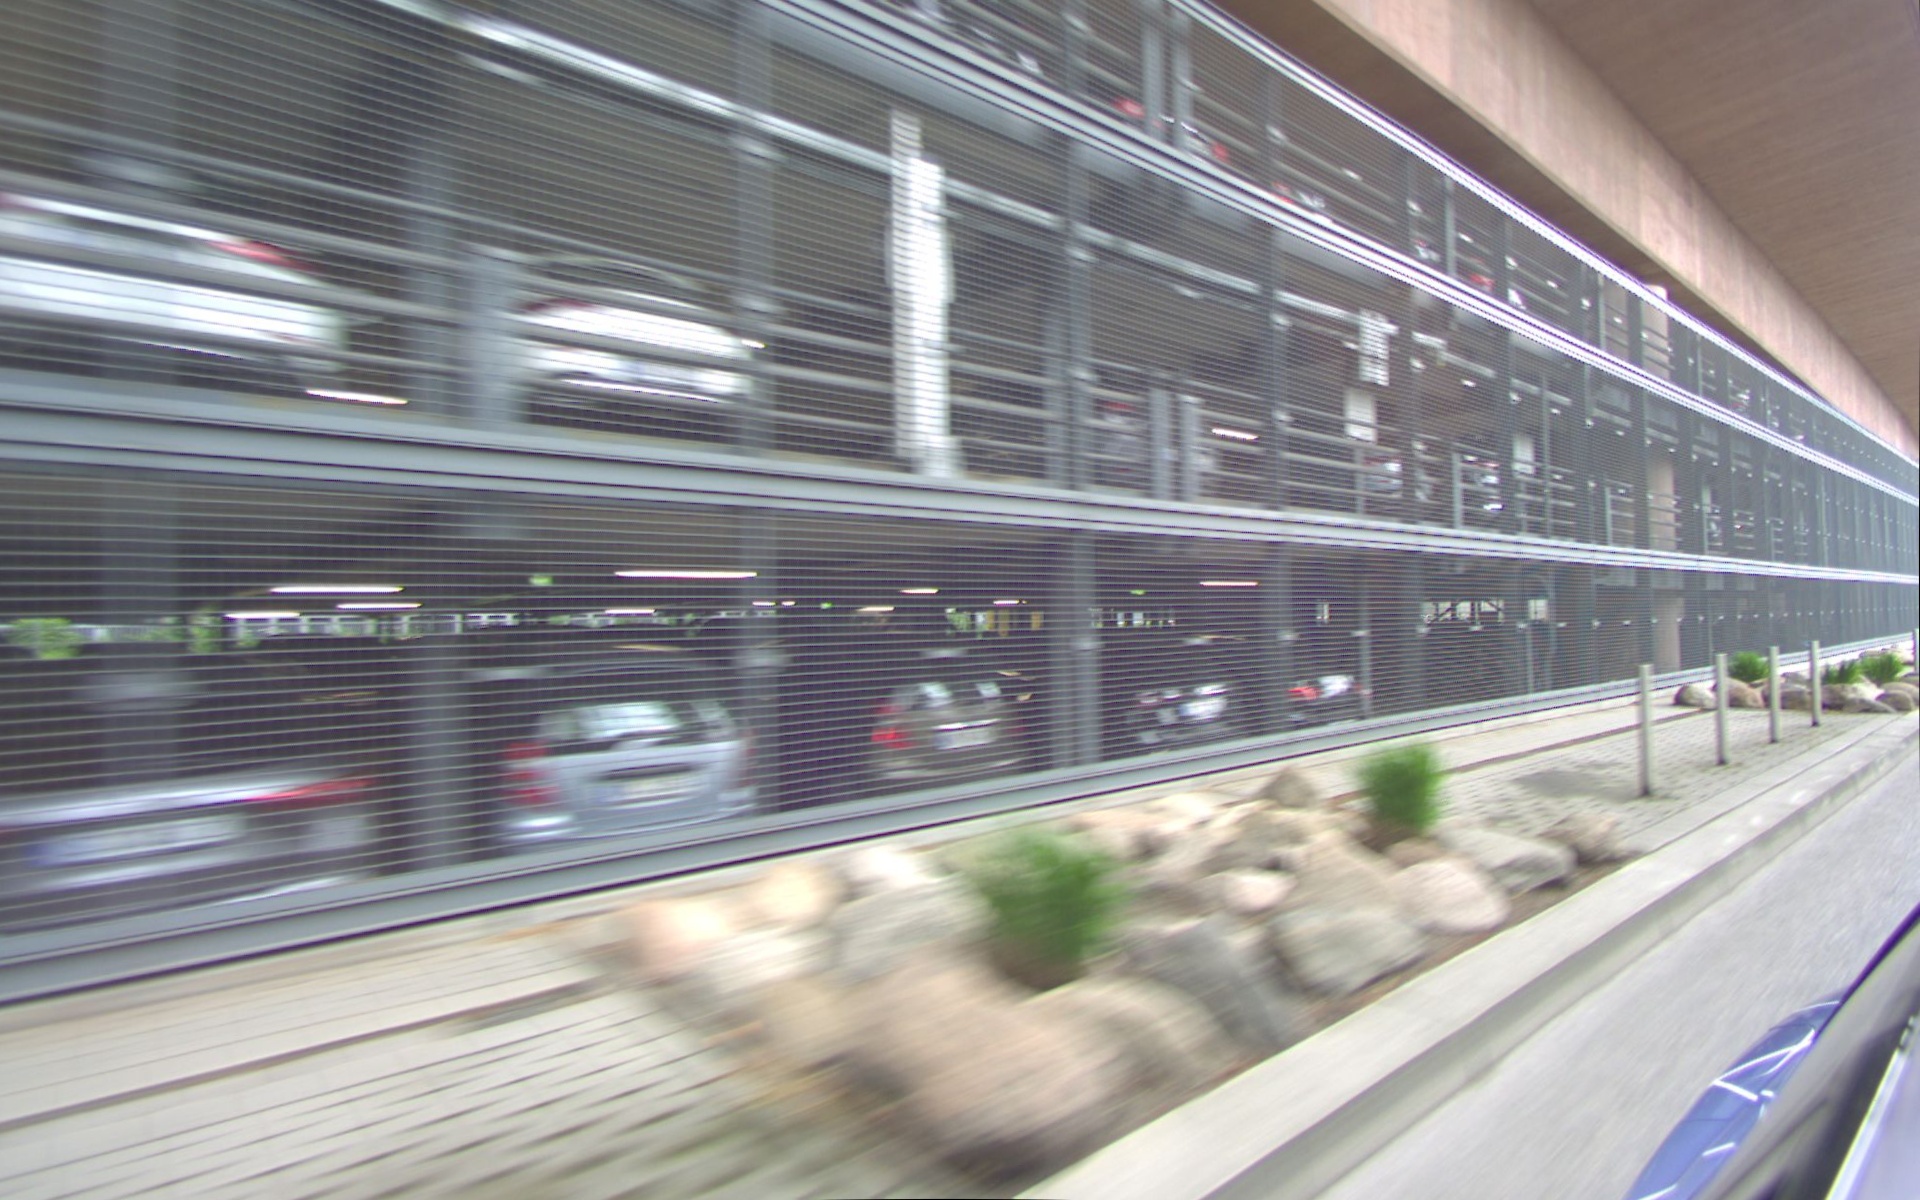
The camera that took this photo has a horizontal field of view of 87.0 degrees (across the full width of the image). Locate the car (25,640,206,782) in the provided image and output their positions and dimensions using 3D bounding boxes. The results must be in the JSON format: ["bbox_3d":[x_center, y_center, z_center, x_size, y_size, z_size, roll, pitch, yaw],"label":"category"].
[{"bbox_3d":[-11.610,1.385,14.030,1.691,1.636,3.995,1,-2,-39],"label":"car"}]

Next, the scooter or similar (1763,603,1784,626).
[{"bbox_3d":[42.417,0.769,52.766,1.225,1.148,0.400,1,-2,-30],"label":"scooter or similar"}]

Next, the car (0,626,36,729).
[{"bbox_3d":[-16.269,1.233,16.353,1.790,1.557,3.647,1,-2,-40],"label":"car"}]

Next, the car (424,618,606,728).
[{"bbox_3d":[-7.666,1.154,17.252,1.802,1.636,3.993,1,-2,-40],"label":"car"}]

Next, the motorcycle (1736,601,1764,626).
[{"bbox_3d":[41.686,0.706,53.398,2.091,1.319,0.607,0,-2,-38],"label":"motorcycle"}]

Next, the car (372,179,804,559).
[{"bbox_3d":[-2.905,-1.277,7.323,1.798,1.679,3.996,2,-2,-38],"label":"car"}]

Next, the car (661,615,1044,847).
[{"bbox_3d":[-1.136,0.989,9.128,1.695,1.640,3.648,1,-2,-40],"label":"car"}]

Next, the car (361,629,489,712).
[{"bbox_3d":[-11.150,1.396,20.989,1.624,1.557,3.647,1,-2,-40],"label":"car"}]

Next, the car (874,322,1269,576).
[{"bbox_3d":[0.950,-1.295,10.407,1.700,1.891,3.995,2,-2,-39],"label":"car"}]

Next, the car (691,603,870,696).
[{"bbox_3d":[-3.614,0.938,19.876,1.691,1.636,3.993,1,-2,-40],"label":"car"}]

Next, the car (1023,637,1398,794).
[{"bbox_3d":[2.763,1.201,11.902,1.778,1.485,3.993,1,-2,-40],"label":"car"}]
